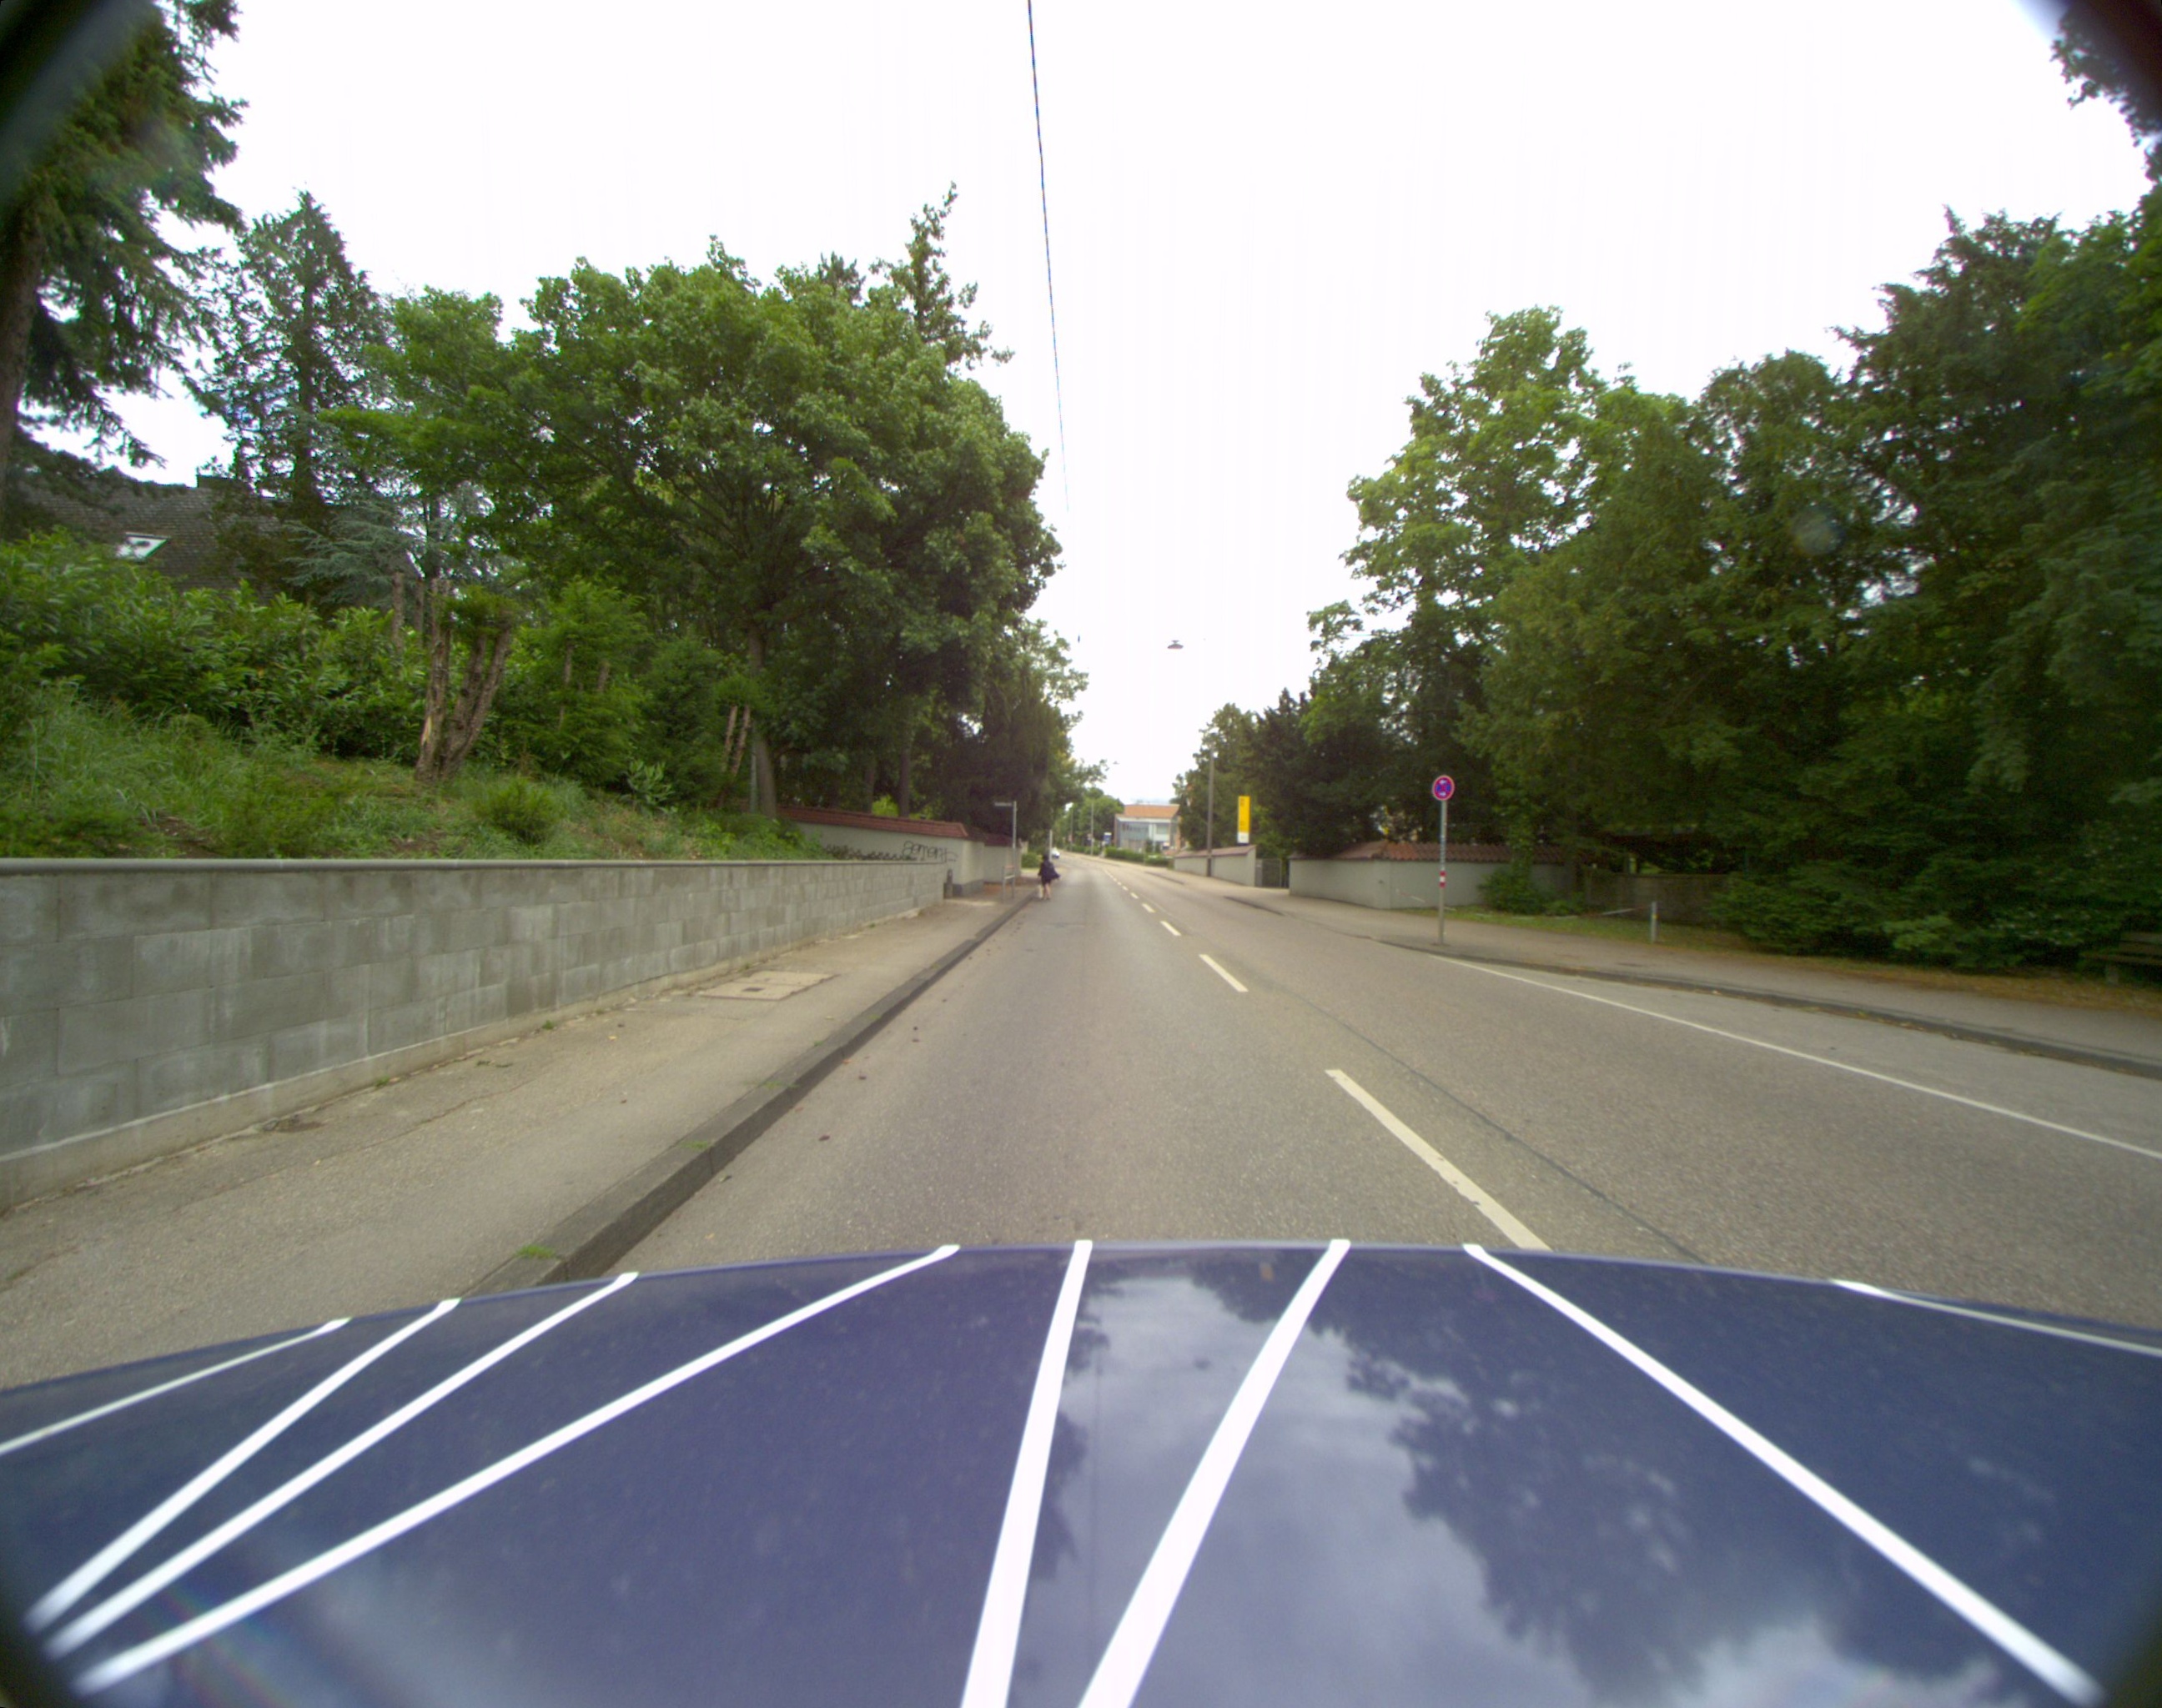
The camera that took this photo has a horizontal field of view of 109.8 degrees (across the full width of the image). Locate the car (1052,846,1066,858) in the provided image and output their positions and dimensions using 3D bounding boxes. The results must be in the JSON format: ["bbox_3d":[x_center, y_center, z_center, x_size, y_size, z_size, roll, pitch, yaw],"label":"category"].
[{"bbox_3d":[-3.378,-0.335,116.356,1.886,1.893,4.000,0,0,1],"label":"car"}]

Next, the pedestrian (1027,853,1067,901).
[{"bbox_3d":[-1.113,0.752,25.131,0.900,1.551,0.930,1,1,43],"label":"pedestrian"}]
